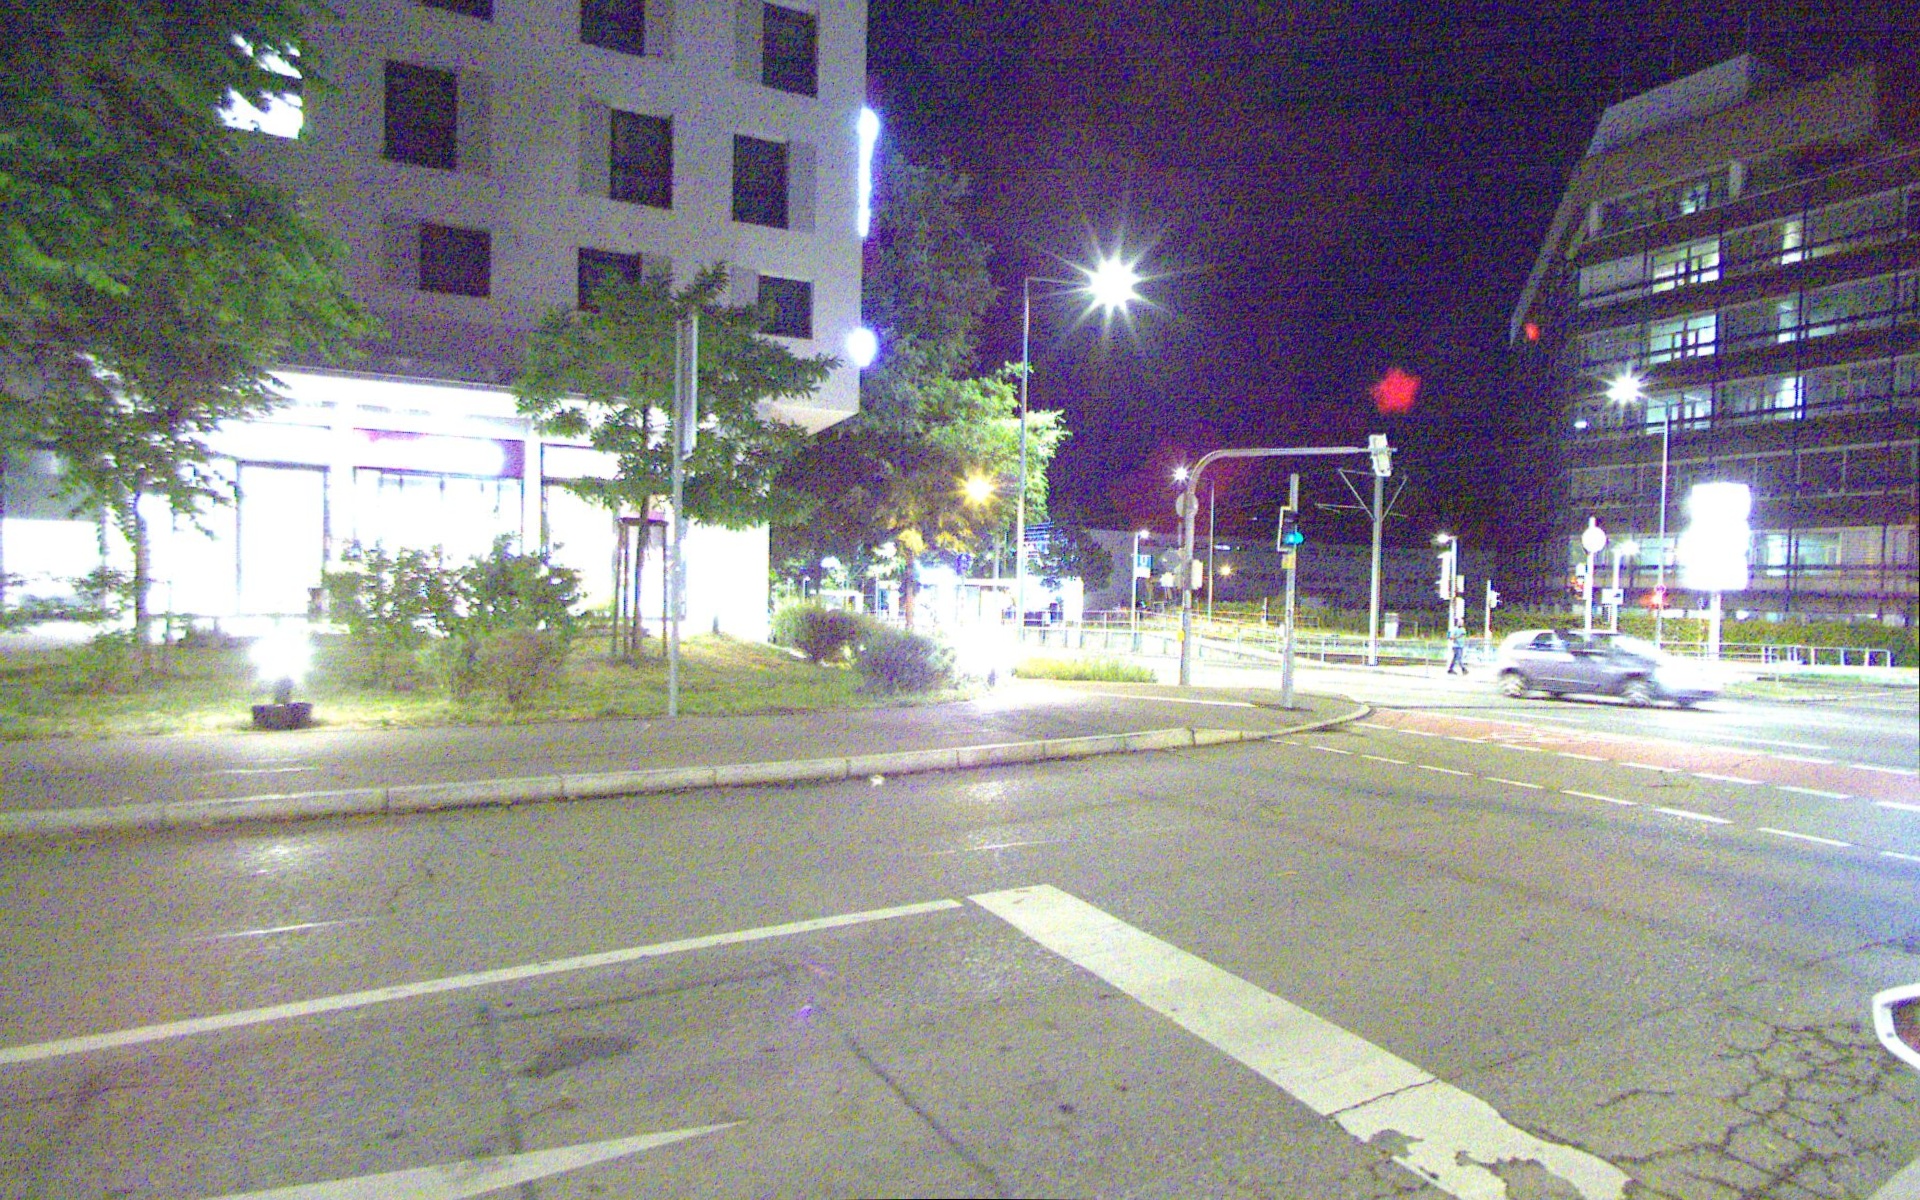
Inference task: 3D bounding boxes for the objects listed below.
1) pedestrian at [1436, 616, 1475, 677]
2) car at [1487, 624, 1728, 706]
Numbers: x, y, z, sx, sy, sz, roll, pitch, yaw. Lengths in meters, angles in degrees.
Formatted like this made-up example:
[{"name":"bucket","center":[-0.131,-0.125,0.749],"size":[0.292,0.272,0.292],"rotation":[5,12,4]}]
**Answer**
[{"name":"pedestrian","center":[14.571,1.358,29.520],"size":[0.669,1.745,0.703],"rotation":[2,0,-22]},{"name":"car","center":[12.517,1.204,19.659],"size":[1.621,1.439,3.676],"rotation":[0,-2,-25]}]
